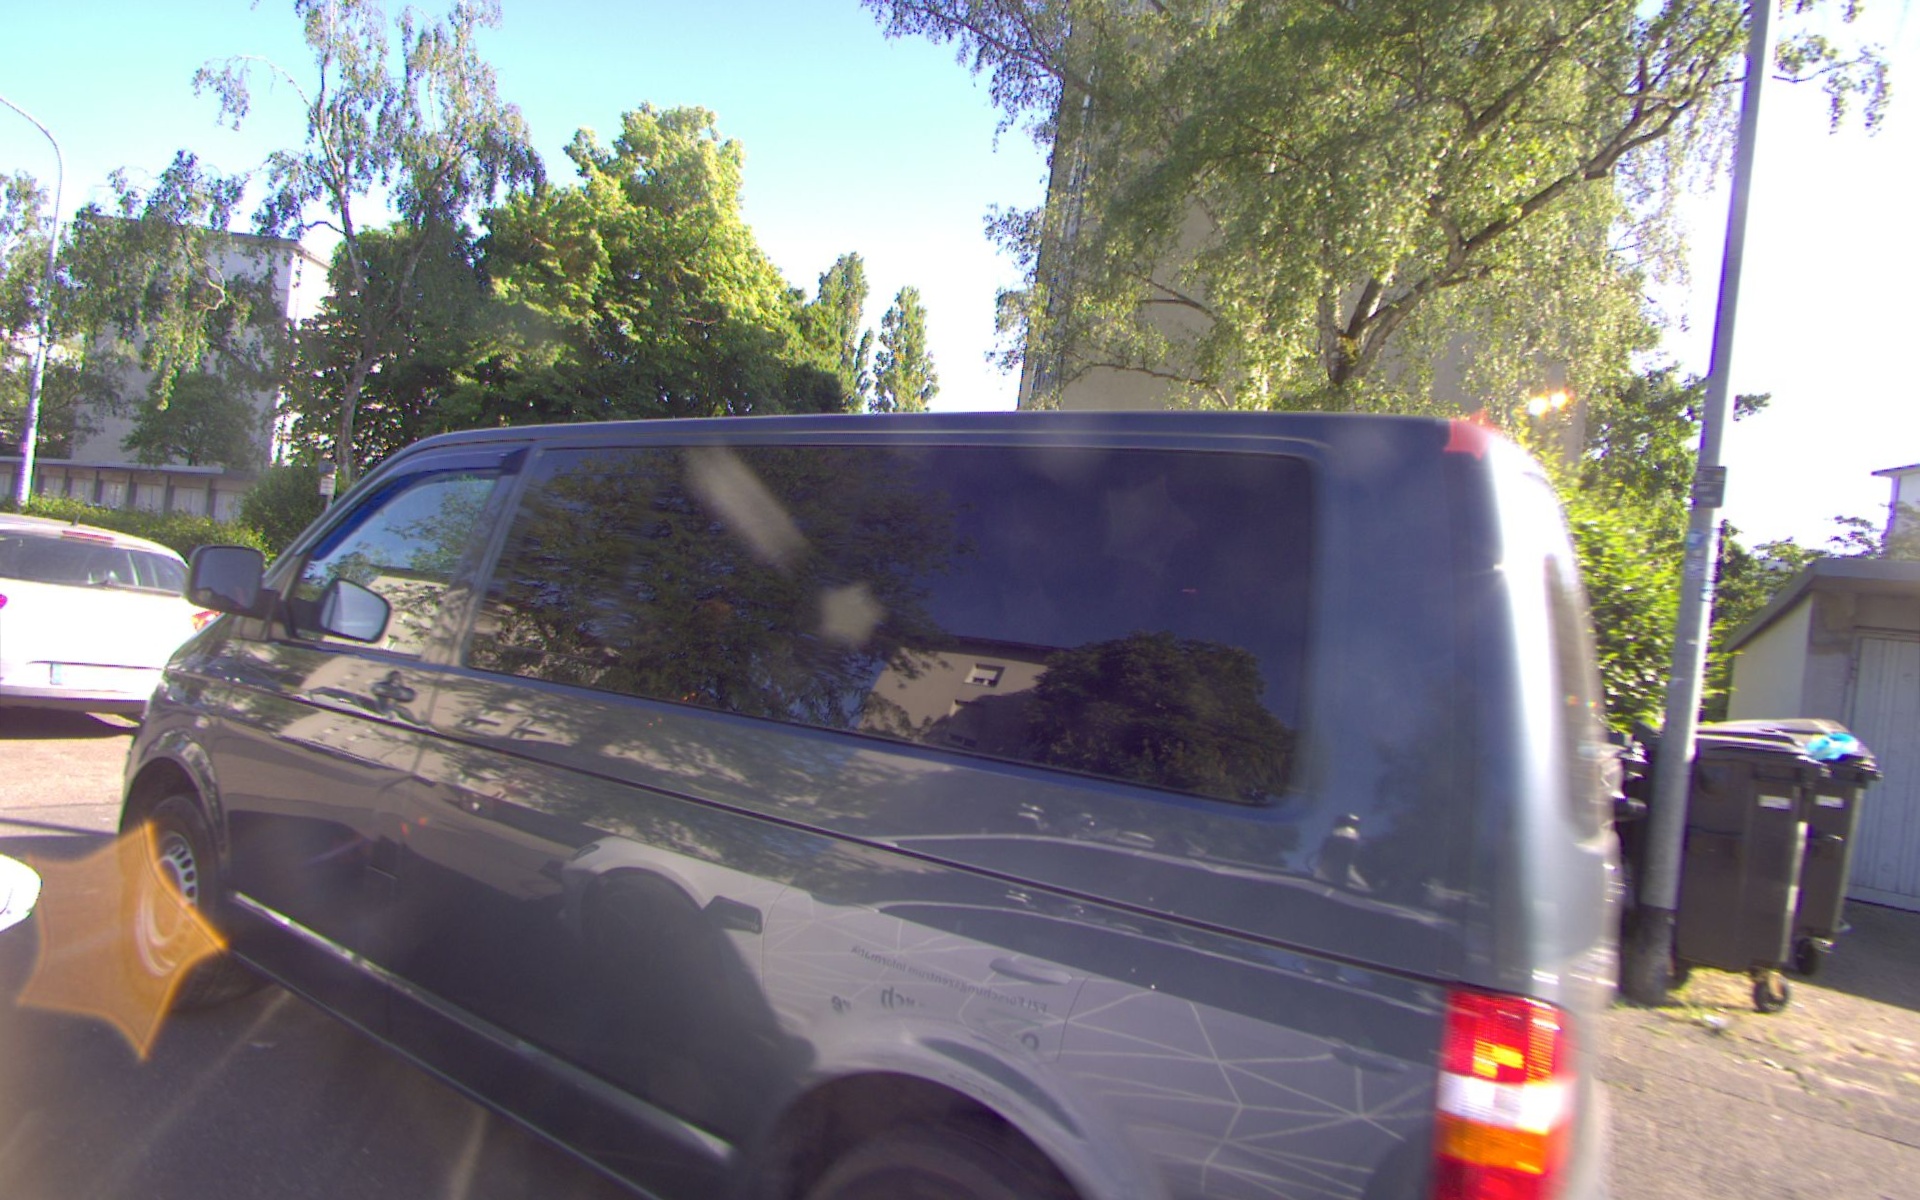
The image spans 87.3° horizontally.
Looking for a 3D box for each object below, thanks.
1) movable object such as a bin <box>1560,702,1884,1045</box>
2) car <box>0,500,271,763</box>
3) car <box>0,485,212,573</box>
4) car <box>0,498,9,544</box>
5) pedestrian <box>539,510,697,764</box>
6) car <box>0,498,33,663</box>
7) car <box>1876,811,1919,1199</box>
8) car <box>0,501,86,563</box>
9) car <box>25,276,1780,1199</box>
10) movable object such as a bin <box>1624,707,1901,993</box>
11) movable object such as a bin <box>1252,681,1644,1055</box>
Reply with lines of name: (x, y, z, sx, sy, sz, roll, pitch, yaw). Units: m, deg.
movable object such as a bin: (3.969, 1.314, 5.336, 1.116, 1.382, 1.224, 7, -1, 36)
car: (-6.906, 0.058, 7.263, 3.970, 1.506, 1.626, 6, -2, 32)
car: (-20.399, -1.654, 23.737, 1.798, 1.532, 3.948, 7, 0, 30)
car: (-34.239, -2.897, 32.746, 1.799, 1.532, 4.418, 7, 0, 33)
pedestrian: (-2.781, 0.281, 8.192, 0.858, 1.913, 0.703, 7, 2, 34)
car: (-10.988, -0.432, 9.719, 4.425, 1.508, 1.734, 7, 0, 31)
car: (3.588, 1.253, 0.356, 4.562, 1.435, 1.803, 6, -2, 35)
car: (-27.611, -2.082, 28.056, 1.799, 1.532, 4.516, 7, 0, 34)
car: (-0.721, 0.515, 3.075, 4.627, 1.956, 1.856, 6, -2, 32)
movable object such as a bin: (4.910, 1.439, 6.263, 1.116, 1.381, 1.276, 7, -1, 36)
movable object such as a bin: (2.356, 1.155, 4.905, 1.368, 1.327, 1.023, 7, 3, 43)
